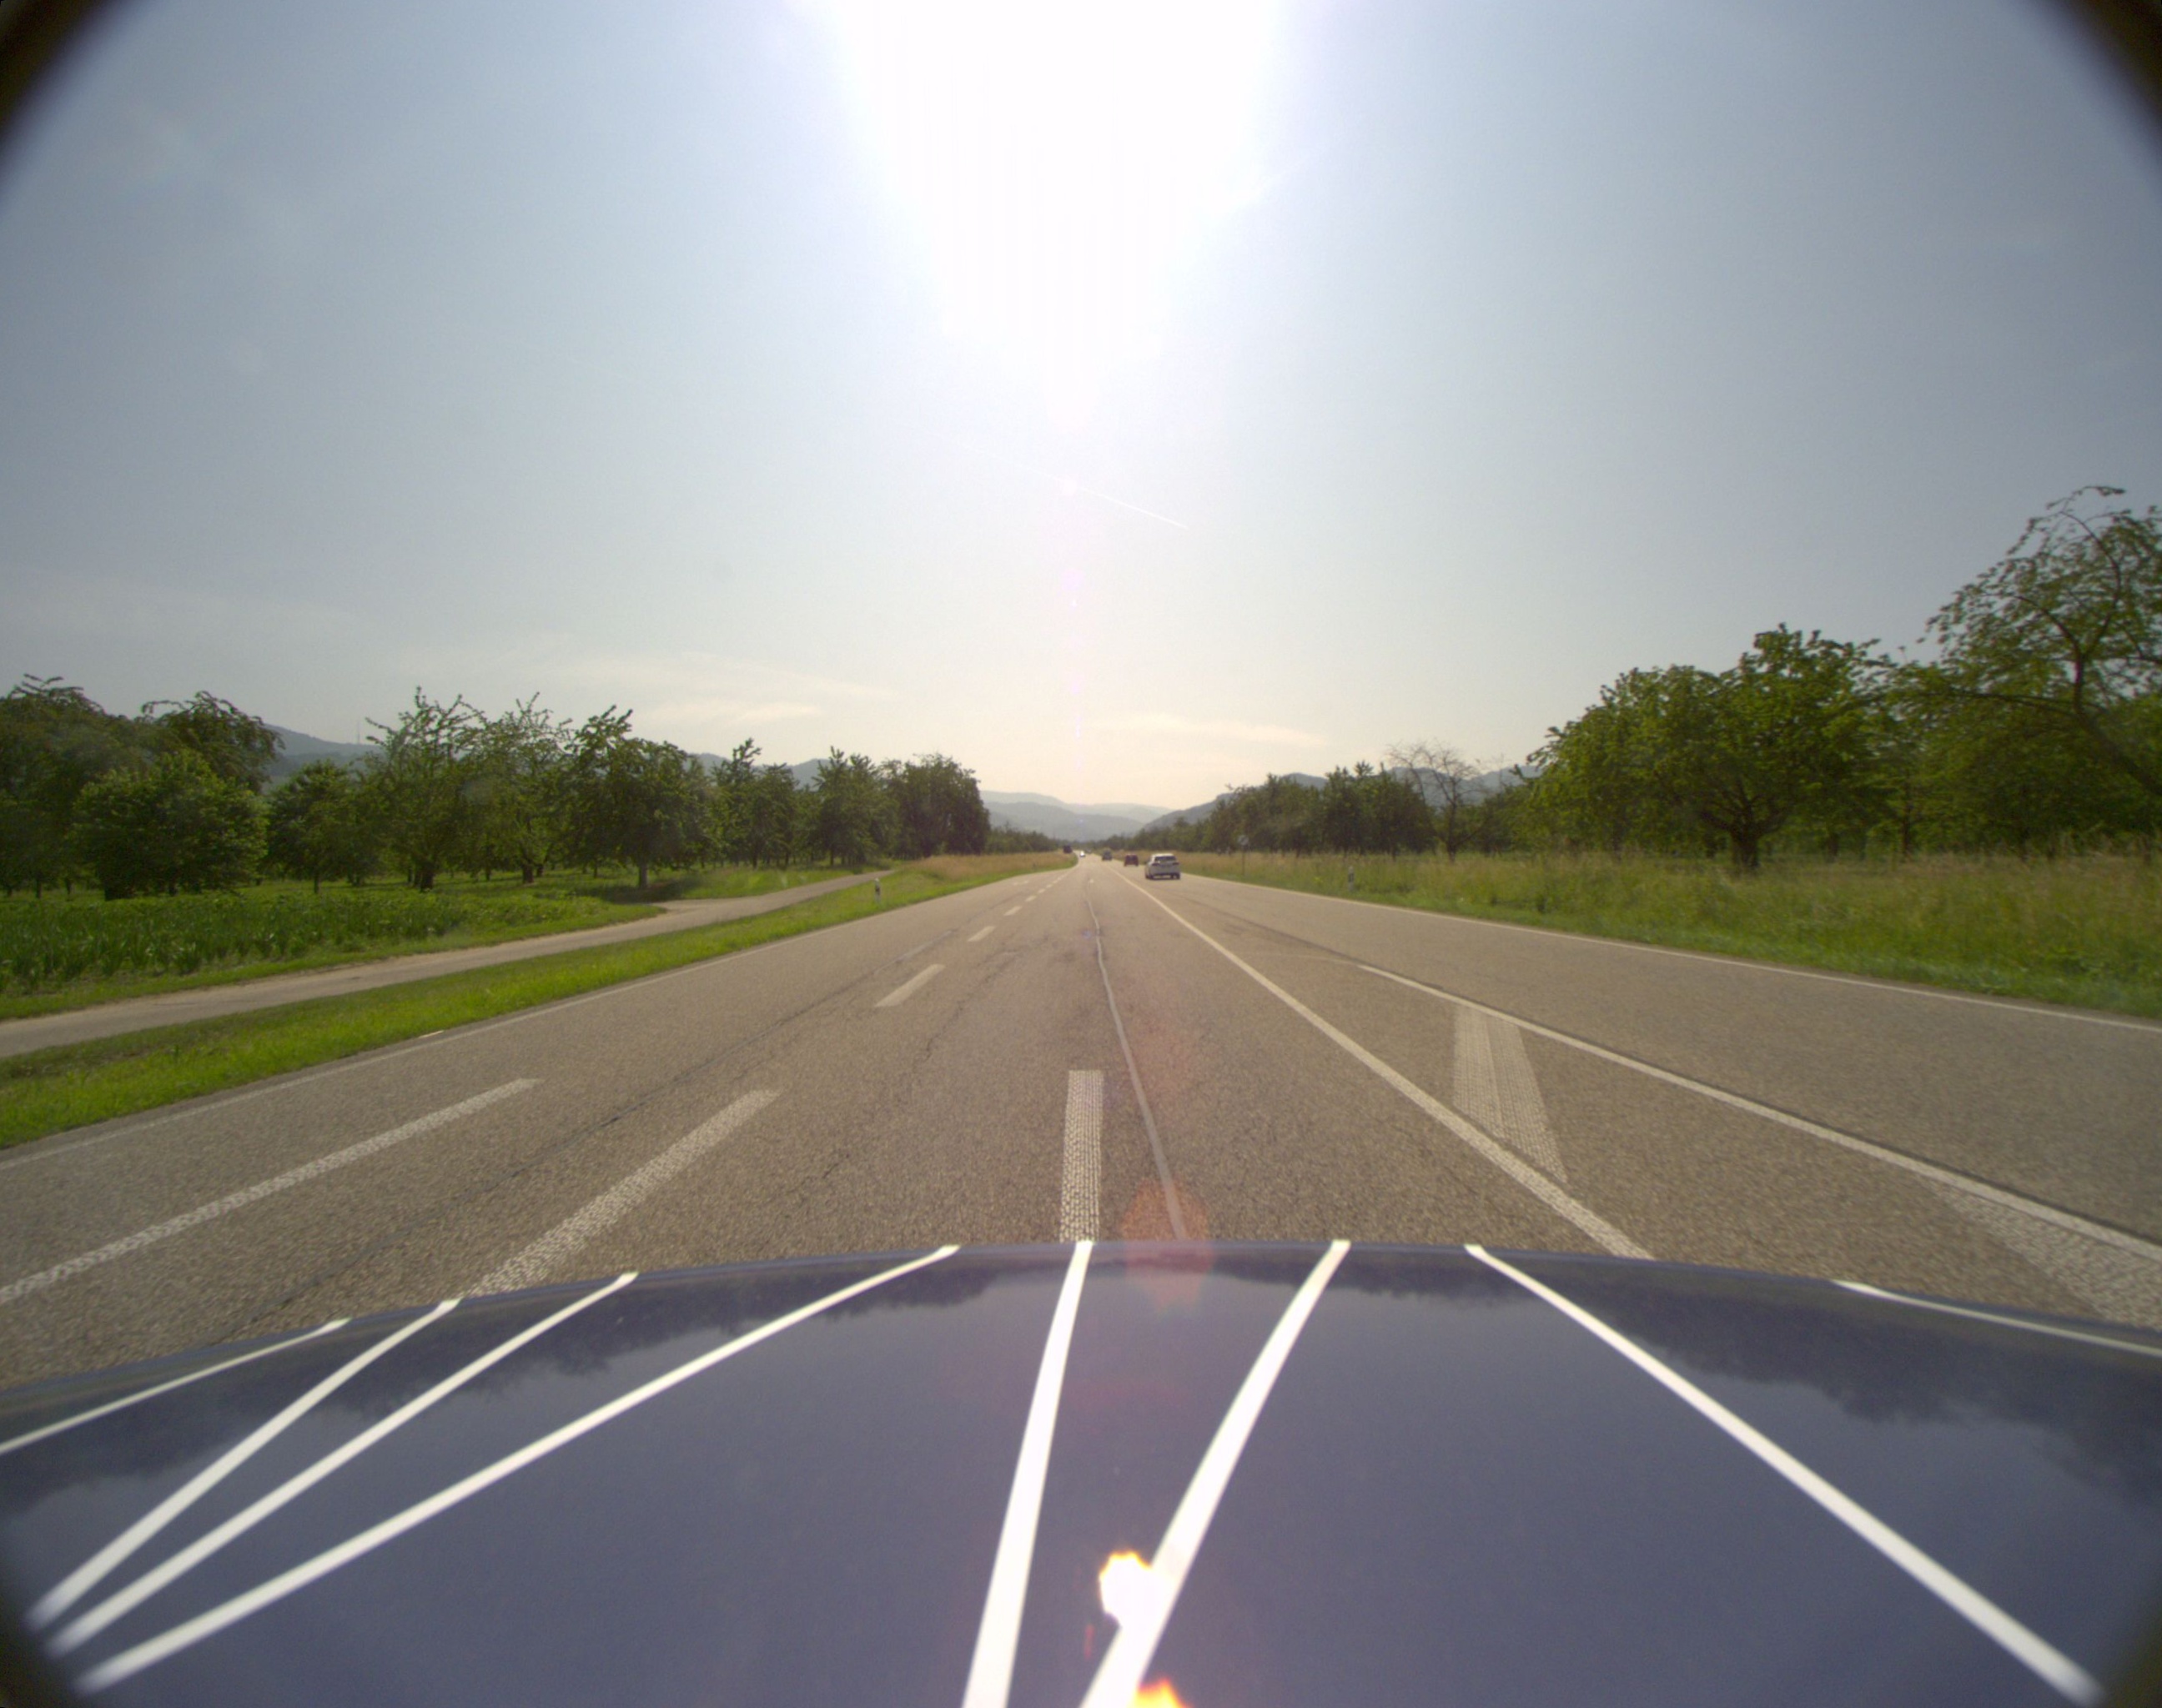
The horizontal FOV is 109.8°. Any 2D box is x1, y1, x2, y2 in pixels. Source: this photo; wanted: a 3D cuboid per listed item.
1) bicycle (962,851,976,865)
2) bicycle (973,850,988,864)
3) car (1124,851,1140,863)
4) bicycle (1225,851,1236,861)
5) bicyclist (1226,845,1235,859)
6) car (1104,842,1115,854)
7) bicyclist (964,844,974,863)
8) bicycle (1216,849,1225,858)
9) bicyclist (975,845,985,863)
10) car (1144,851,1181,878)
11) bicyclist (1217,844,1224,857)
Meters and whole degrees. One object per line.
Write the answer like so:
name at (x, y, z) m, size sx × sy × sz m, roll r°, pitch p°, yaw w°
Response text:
bicycle at (-11.447, 0.361, 77.653) m, size 0.751 × 1.410 × 2.223 m, roll 0°, pitch 1°, yaw 12°
bicycle at (-10.293, 0.339, 77.760) m, size 0.751 × 1.410 × 2.223 m, roll 0°, pitch 1°, yaw 12°
car at (6.016, 0.346, 90.534) m, size 1.629 × 1.448 × 3.621 m, roll -2°, pitch 0°, yaw 0°
bicycle at (15.428, 0.185, 78.306) m, size 0.742 × 0.984 × 2.224 m, roll -2°, pitch 2°, yaw 2°
bicyclist at (15.417, -0.235, 78.289) m, size 0.742 × 1.446 × 0.863 m, roll -2°, pitch 2°, yaw 2°
car at (6.163, -1.331, 166.235) m, size 2.166 × 2.653 × 6.142 m, roll -2°, pitch 1°, yaw 0°
bicyclist at (-11.451, -0.055, 77.641) m, size 0.751 × 1.918 × 0.828 m, roll 0°, pitch 1°, yaw 12°
bicycle at (16.223, -0.031, 88.339) m, size 0.650 × 0.984 × 1.955 m, roll -2°, pitch 2°, yaw 2°
bicyclist at (-10.296, -0.028, 77.741) m, size 0.751 × 1.856 × 0.870 m, roll 0°, pitch 1°, yaw 12°
car at (4.843, 0.585, 45.461) m, size 1.679 × 1.485 × 4.136 m, roll -2°, pitch 0°, yaw -1°
bicyclist at (16.209, -0.392, 88.319) m, size 0.643 × 1.406 × 0.863 m, roll -2°, pitch 2°, yaw 2°
